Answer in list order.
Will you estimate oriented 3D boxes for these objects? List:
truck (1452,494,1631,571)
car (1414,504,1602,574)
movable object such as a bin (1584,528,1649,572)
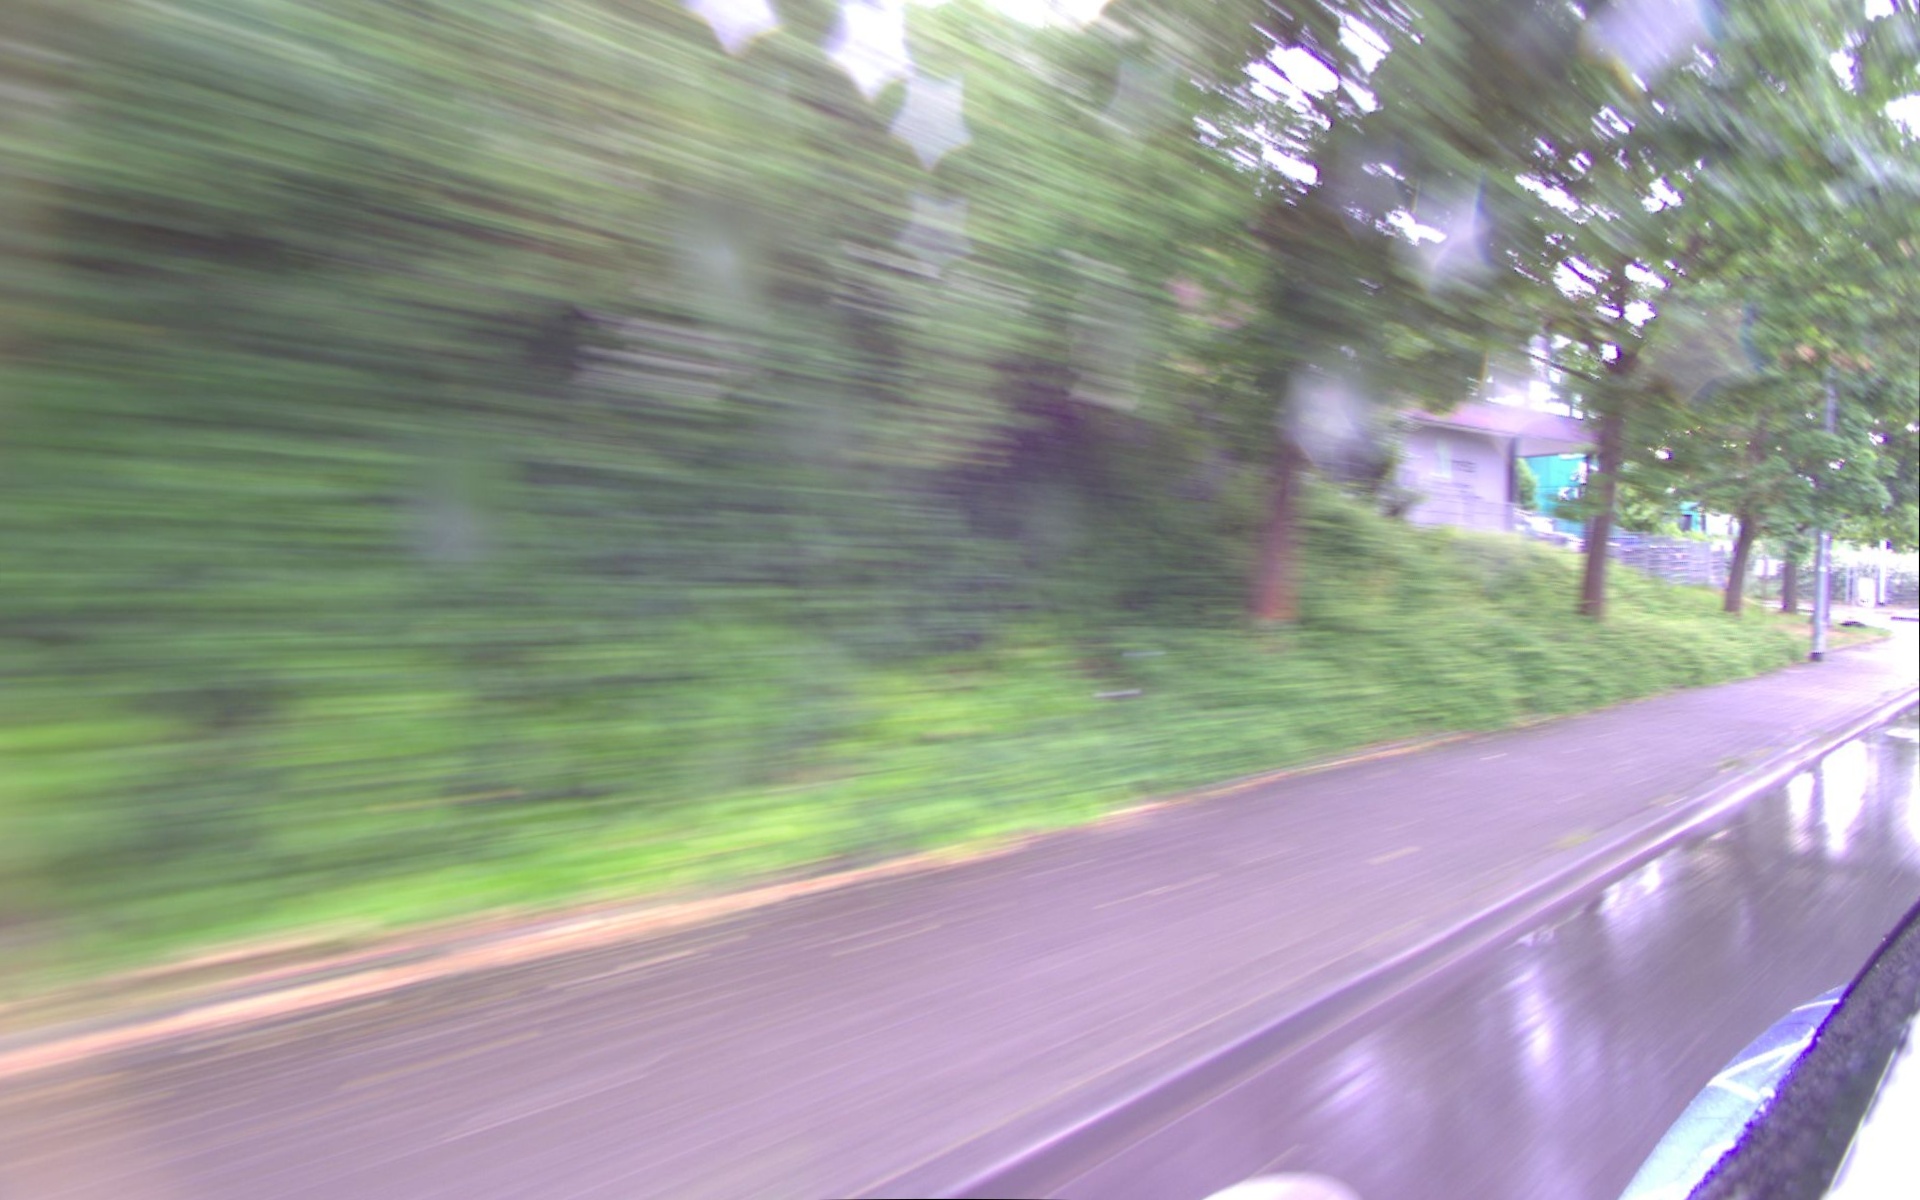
[{"bbox_3d":[20.078,-2.377,35.126,2.213,2.369,4.829,-1,6,-44],"label":"truck"},{"bbox_3d":[17.853,-2.050,33.173,2.027,2.037,4.936,-1,5,-40],"label":"car"},{"bbox_3d":[24.402,-1.863,37.619,1.849,1.518,1.293,6,5,37],"label":"movable object such as a bin"}]
